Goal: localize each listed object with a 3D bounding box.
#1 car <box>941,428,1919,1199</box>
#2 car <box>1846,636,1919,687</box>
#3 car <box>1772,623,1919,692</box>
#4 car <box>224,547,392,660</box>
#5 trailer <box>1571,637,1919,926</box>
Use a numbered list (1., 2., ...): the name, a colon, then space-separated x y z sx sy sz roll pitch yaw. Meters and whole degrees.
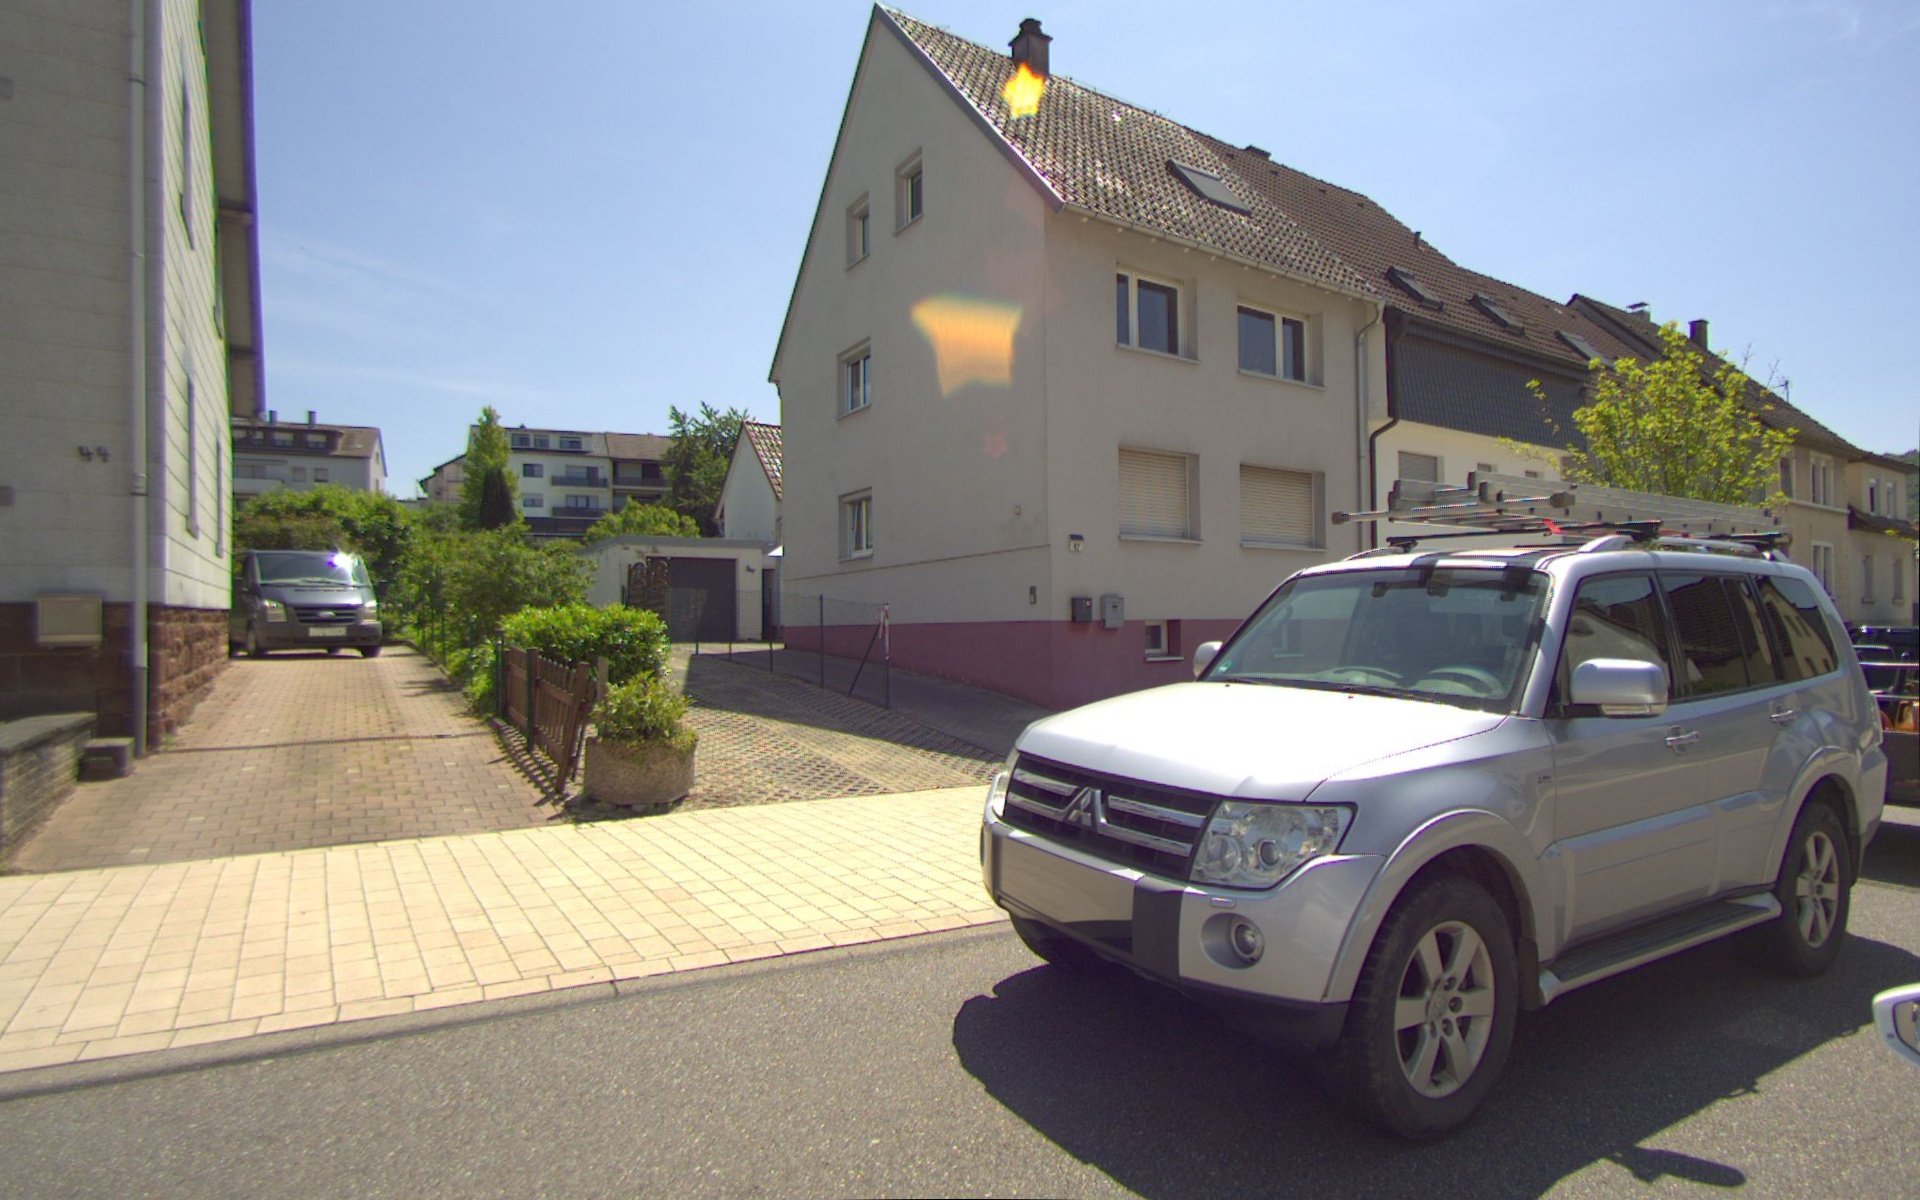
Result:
1. car: 2.324 0.596 4.459 4.528 1.885 1.879 2 -2 -33
2. car: 28.410 1.810 29.484 1.665 1.458 3.552 1 -2 0
3. car: 24.989 1.532 27.188 1.859 1.773 4.367 2 -2 -34
4. car: -12.247 0.099 18.746 1.985 1.857 4.276 3 -2 -42
5. trailer: 6.106 0.977 6.816 4.353 1.414 1.566 2 -2 -32
